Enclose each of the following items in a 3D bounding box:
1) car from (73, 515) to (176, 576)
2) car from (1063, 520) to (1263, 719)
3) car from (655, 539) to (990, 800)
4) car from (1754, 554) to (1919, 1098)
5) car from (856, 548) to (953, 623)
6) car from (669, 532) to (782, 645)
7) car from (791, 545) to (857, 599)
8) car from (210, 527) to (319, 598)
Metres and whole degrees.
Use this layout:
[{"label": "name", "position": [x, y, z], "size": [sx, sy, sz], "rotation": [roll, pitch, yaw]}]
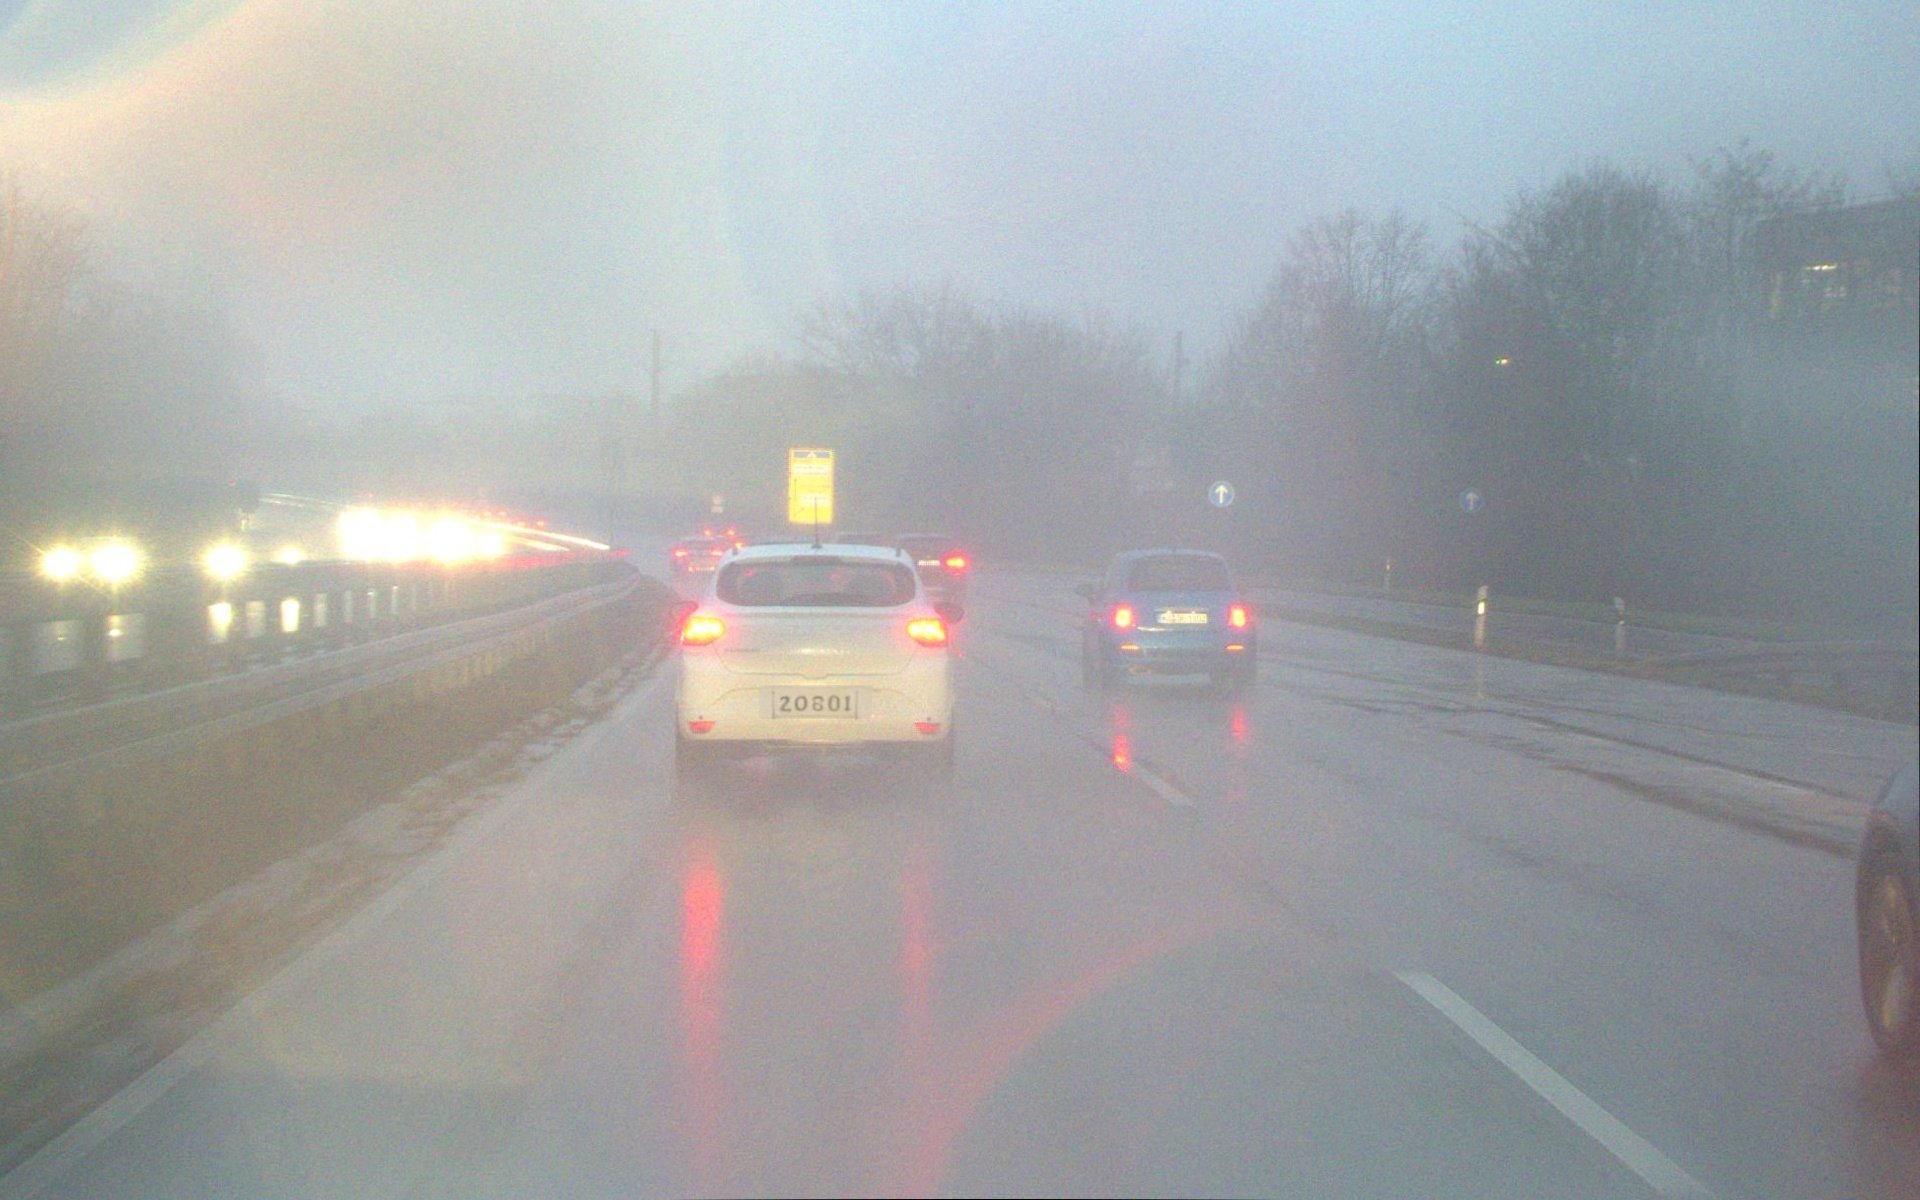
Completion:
[{"label": "car", "position": [-22.282, -1.448, 91.798], "size": [1.837, 1.550, 4.355], "rotation": [1, 1, -2]}, {"label": "car", "position": [2.153, 0.173, 37.375], "size": [1.932, 2.012, 3.773], "rotation": [1, 1, 0]}, {"label": "car", "position": [-0.917, 0.395, 23.042], "size": [2.024, 1.569, 4.000], "rotation": [1, 1, -2]}, {"label": "car", "position": [3.601, 0.647, 9.079], "size": [1.849, 1.496, 4.263], "rotation": [1, 1, -2]}, {"label": "car", "position": [-1.320, -0.339, 80.471], "size": [1.932, 1.541, 3.774], "rotation": [-5, 1, -4]}, {"label": "car", "position": [-4.366, -0.238, 63.603], "size": [1.993, 2.007, 4.001], "rotation": [1, 1, -5]}, {"label": "car", "position": [-4.094, -0.852, 103.134], "size": [1.932, 1.541, 3.774], "rotation": [1, 1, -3]}, {"label": "car", "position": [-15.907, -0.866, 78.813], "size": [1.837, 1.550, 4.356], "rotation": [1, 1, -3]}]
